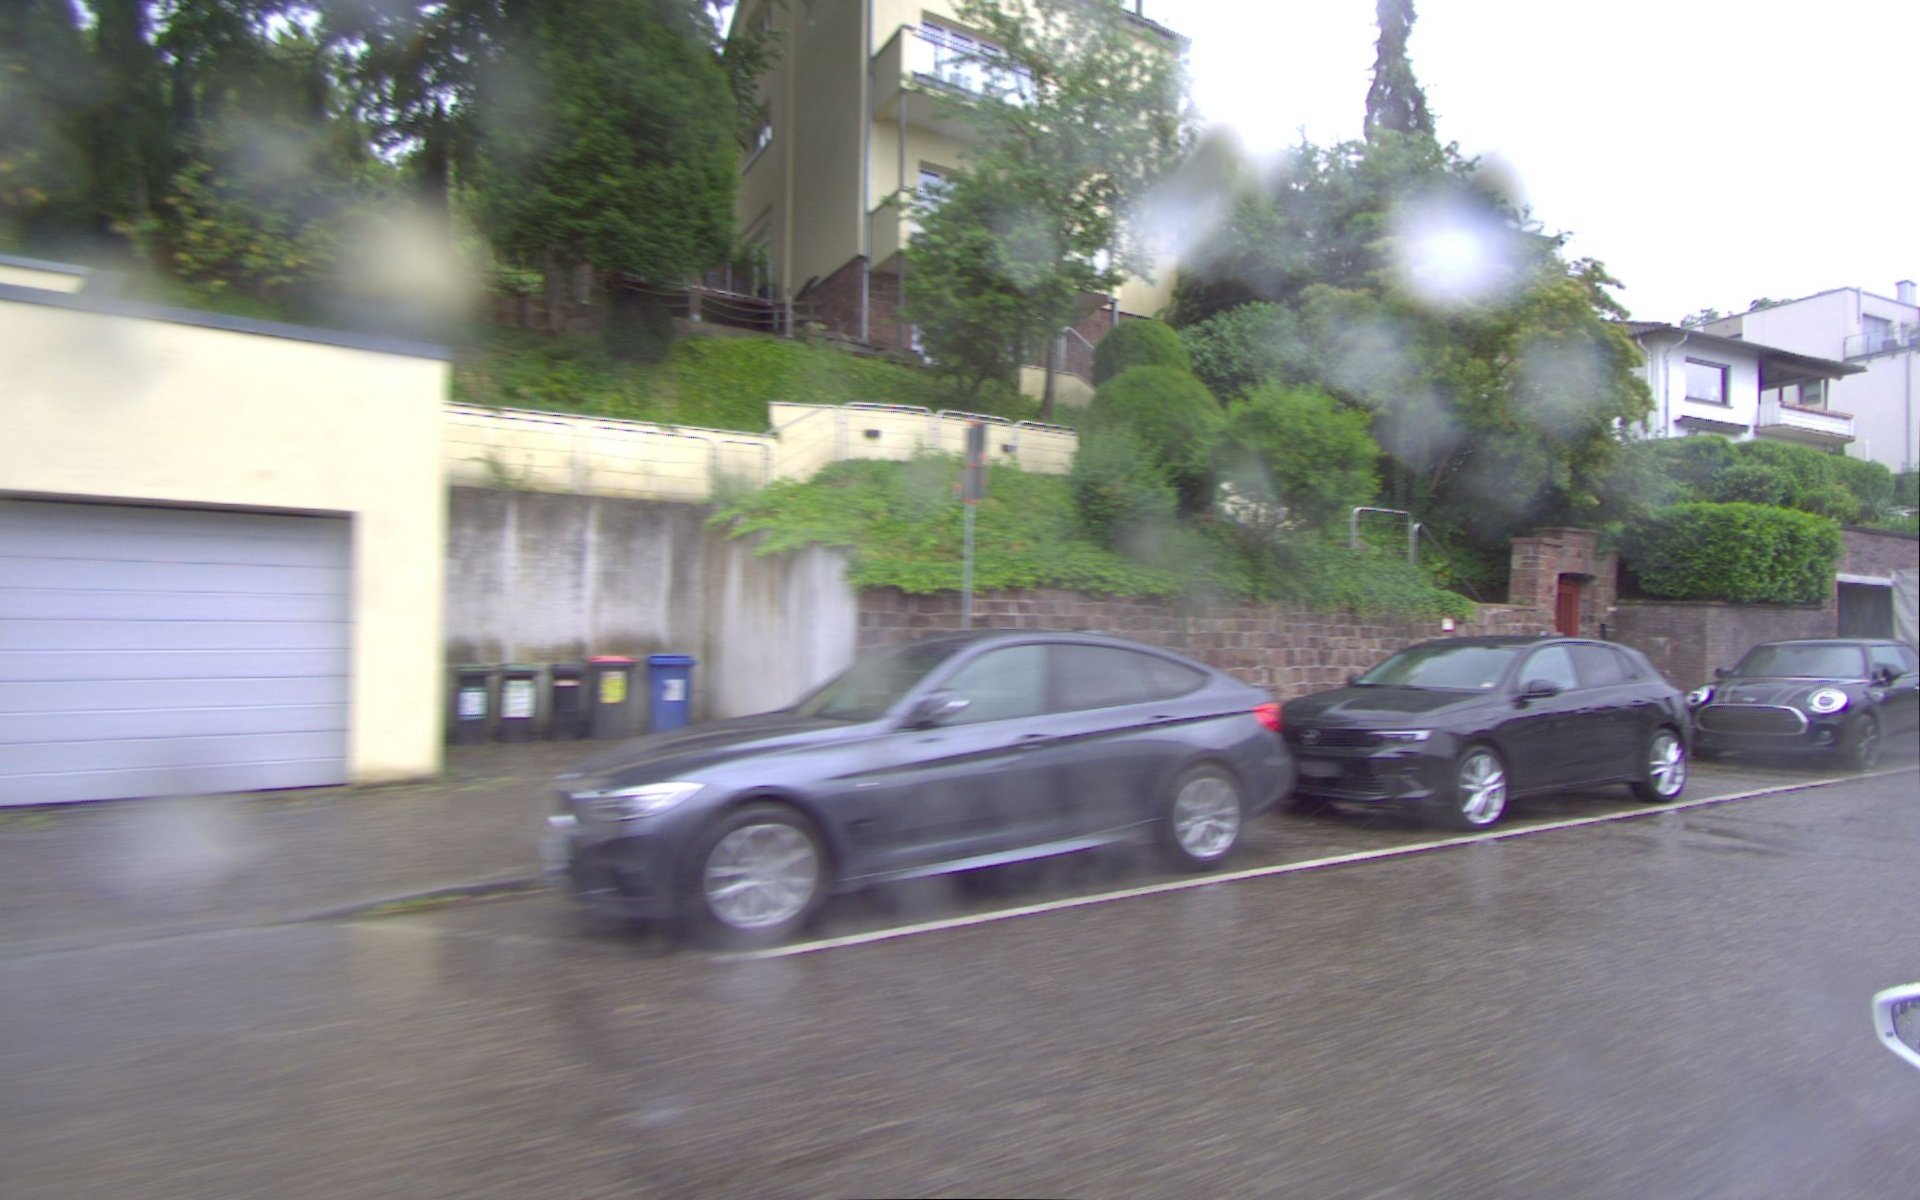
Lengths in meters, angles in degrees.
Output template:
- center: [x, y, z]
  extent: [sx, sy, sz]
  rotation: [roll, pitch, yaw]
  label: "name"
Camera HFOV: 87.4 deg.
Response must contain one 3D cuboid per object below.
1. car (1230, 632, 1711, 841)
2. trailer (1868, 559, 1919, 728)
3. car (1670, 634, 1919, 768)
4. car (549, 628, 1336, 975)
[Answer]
- center: [4.553, 1.022, 8.844]
  extent: [4.166, 1.433, 1.778]
  rotation: [1, -2, -30]
  label: "car"
- center: [15.292, 0.633, 14.956]
  extent: [3.032, 2.430, 1.532]
  rotation: [1, -3, -26]
  label: "trailer"
- center: [10.509, 1.102, 12.084]
  extent: [3.730, 1.367, 1.800]
  rotation: [1, -2, -30]
  label: "car"
- center: [0.056, 0.945, 6.318]
  extent: [4.700, 1.474, 1.777]
  rotation: [1, -3, -31]
  label: "car"
